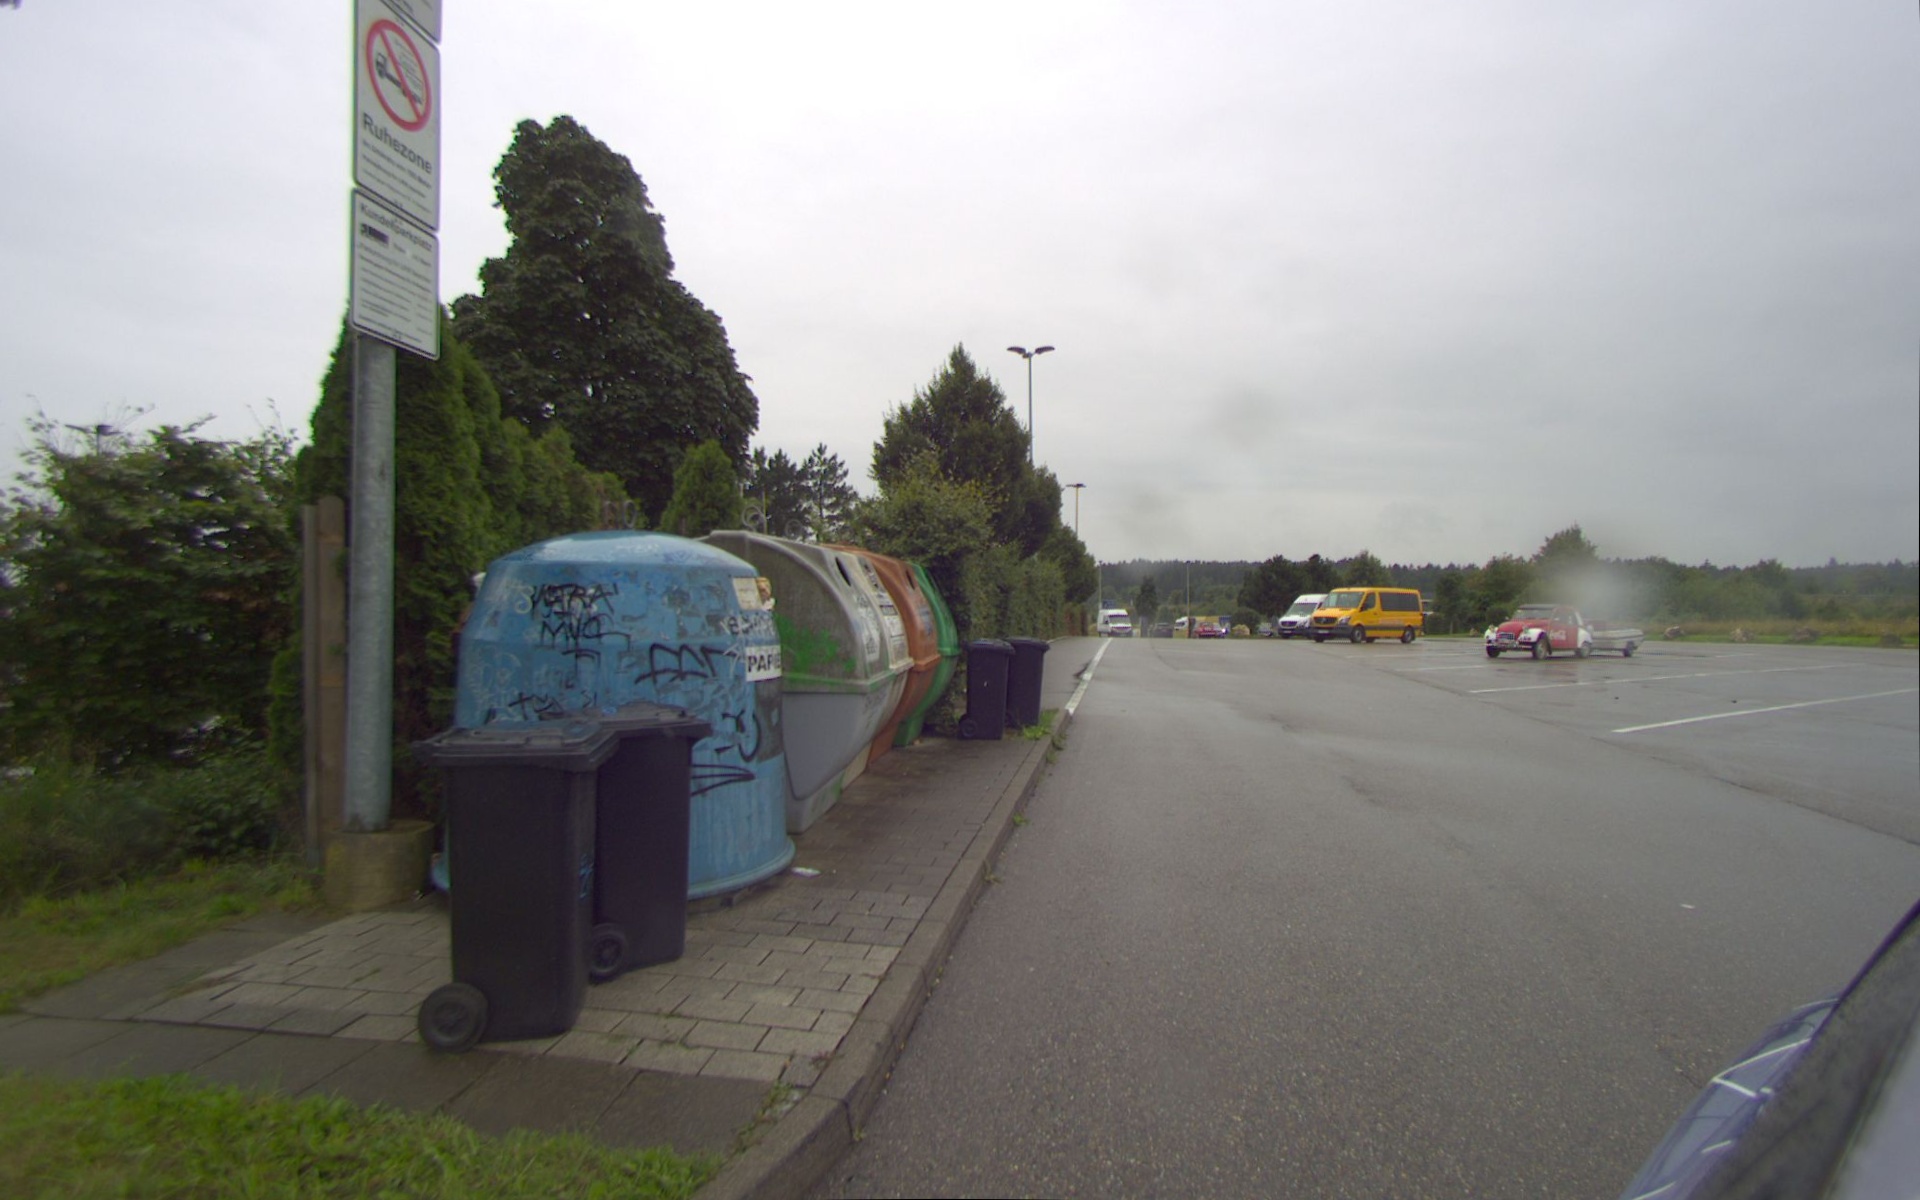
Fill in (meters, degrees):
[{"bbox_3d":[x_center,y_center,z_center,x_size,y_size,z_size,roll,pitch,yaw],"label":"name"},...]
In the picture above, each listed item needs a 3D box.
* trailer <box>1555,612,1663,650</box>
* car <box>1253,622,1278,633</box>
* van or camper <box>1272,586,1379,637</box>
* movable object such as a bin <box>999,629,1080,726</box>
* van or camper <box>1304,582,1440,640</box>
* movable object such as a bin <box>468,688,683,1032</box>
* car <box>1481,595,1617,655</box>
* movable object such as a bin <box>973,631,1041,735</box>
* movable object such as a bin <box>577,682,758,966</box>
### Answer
[{"bbox_3d":[19.388,0.923,30.212,2.970,1.081,1.590,1,-1,-31],"label":"trailer"},{"bbox_3d":[30.069,2.697,99.669,1.679,1.013,3.762,1,0,5],"label":"car"},{"bbox_3d":[20.964,0.652,57.886,6.932,2.749,2.001,1,1,-34],"label":"van or camper"},{"bbox_3d":[0.813,0.776,10.387,0.628,0.932,0.548,0,0,43],"label":"movable object such as a bin"},{"bbox_3d":[17.222,0.441,42.123,6.294,2.275,2.135,1,0,-34],"label":"van or camper"},{"bbox_3d":[-1.247,0.792,3.308,0.446,0.950,0.483,0,0,32],"label":"movable object such as a bin"},{"bbox_3d":[16.445,0.670,28.214,3.976,1.575,1.551,1,0,-31],"label":"car"},{"bbox_3d":[0.446,0.771,9.616,0.493,0.932,0.410,0,0,43],"label":"movable object such as a bin"},{"bbox_3d":[-1.104,0.804,3.843,0.446,0.929,0.483,0,0,32],"label":"movable object such as a bin"}]
